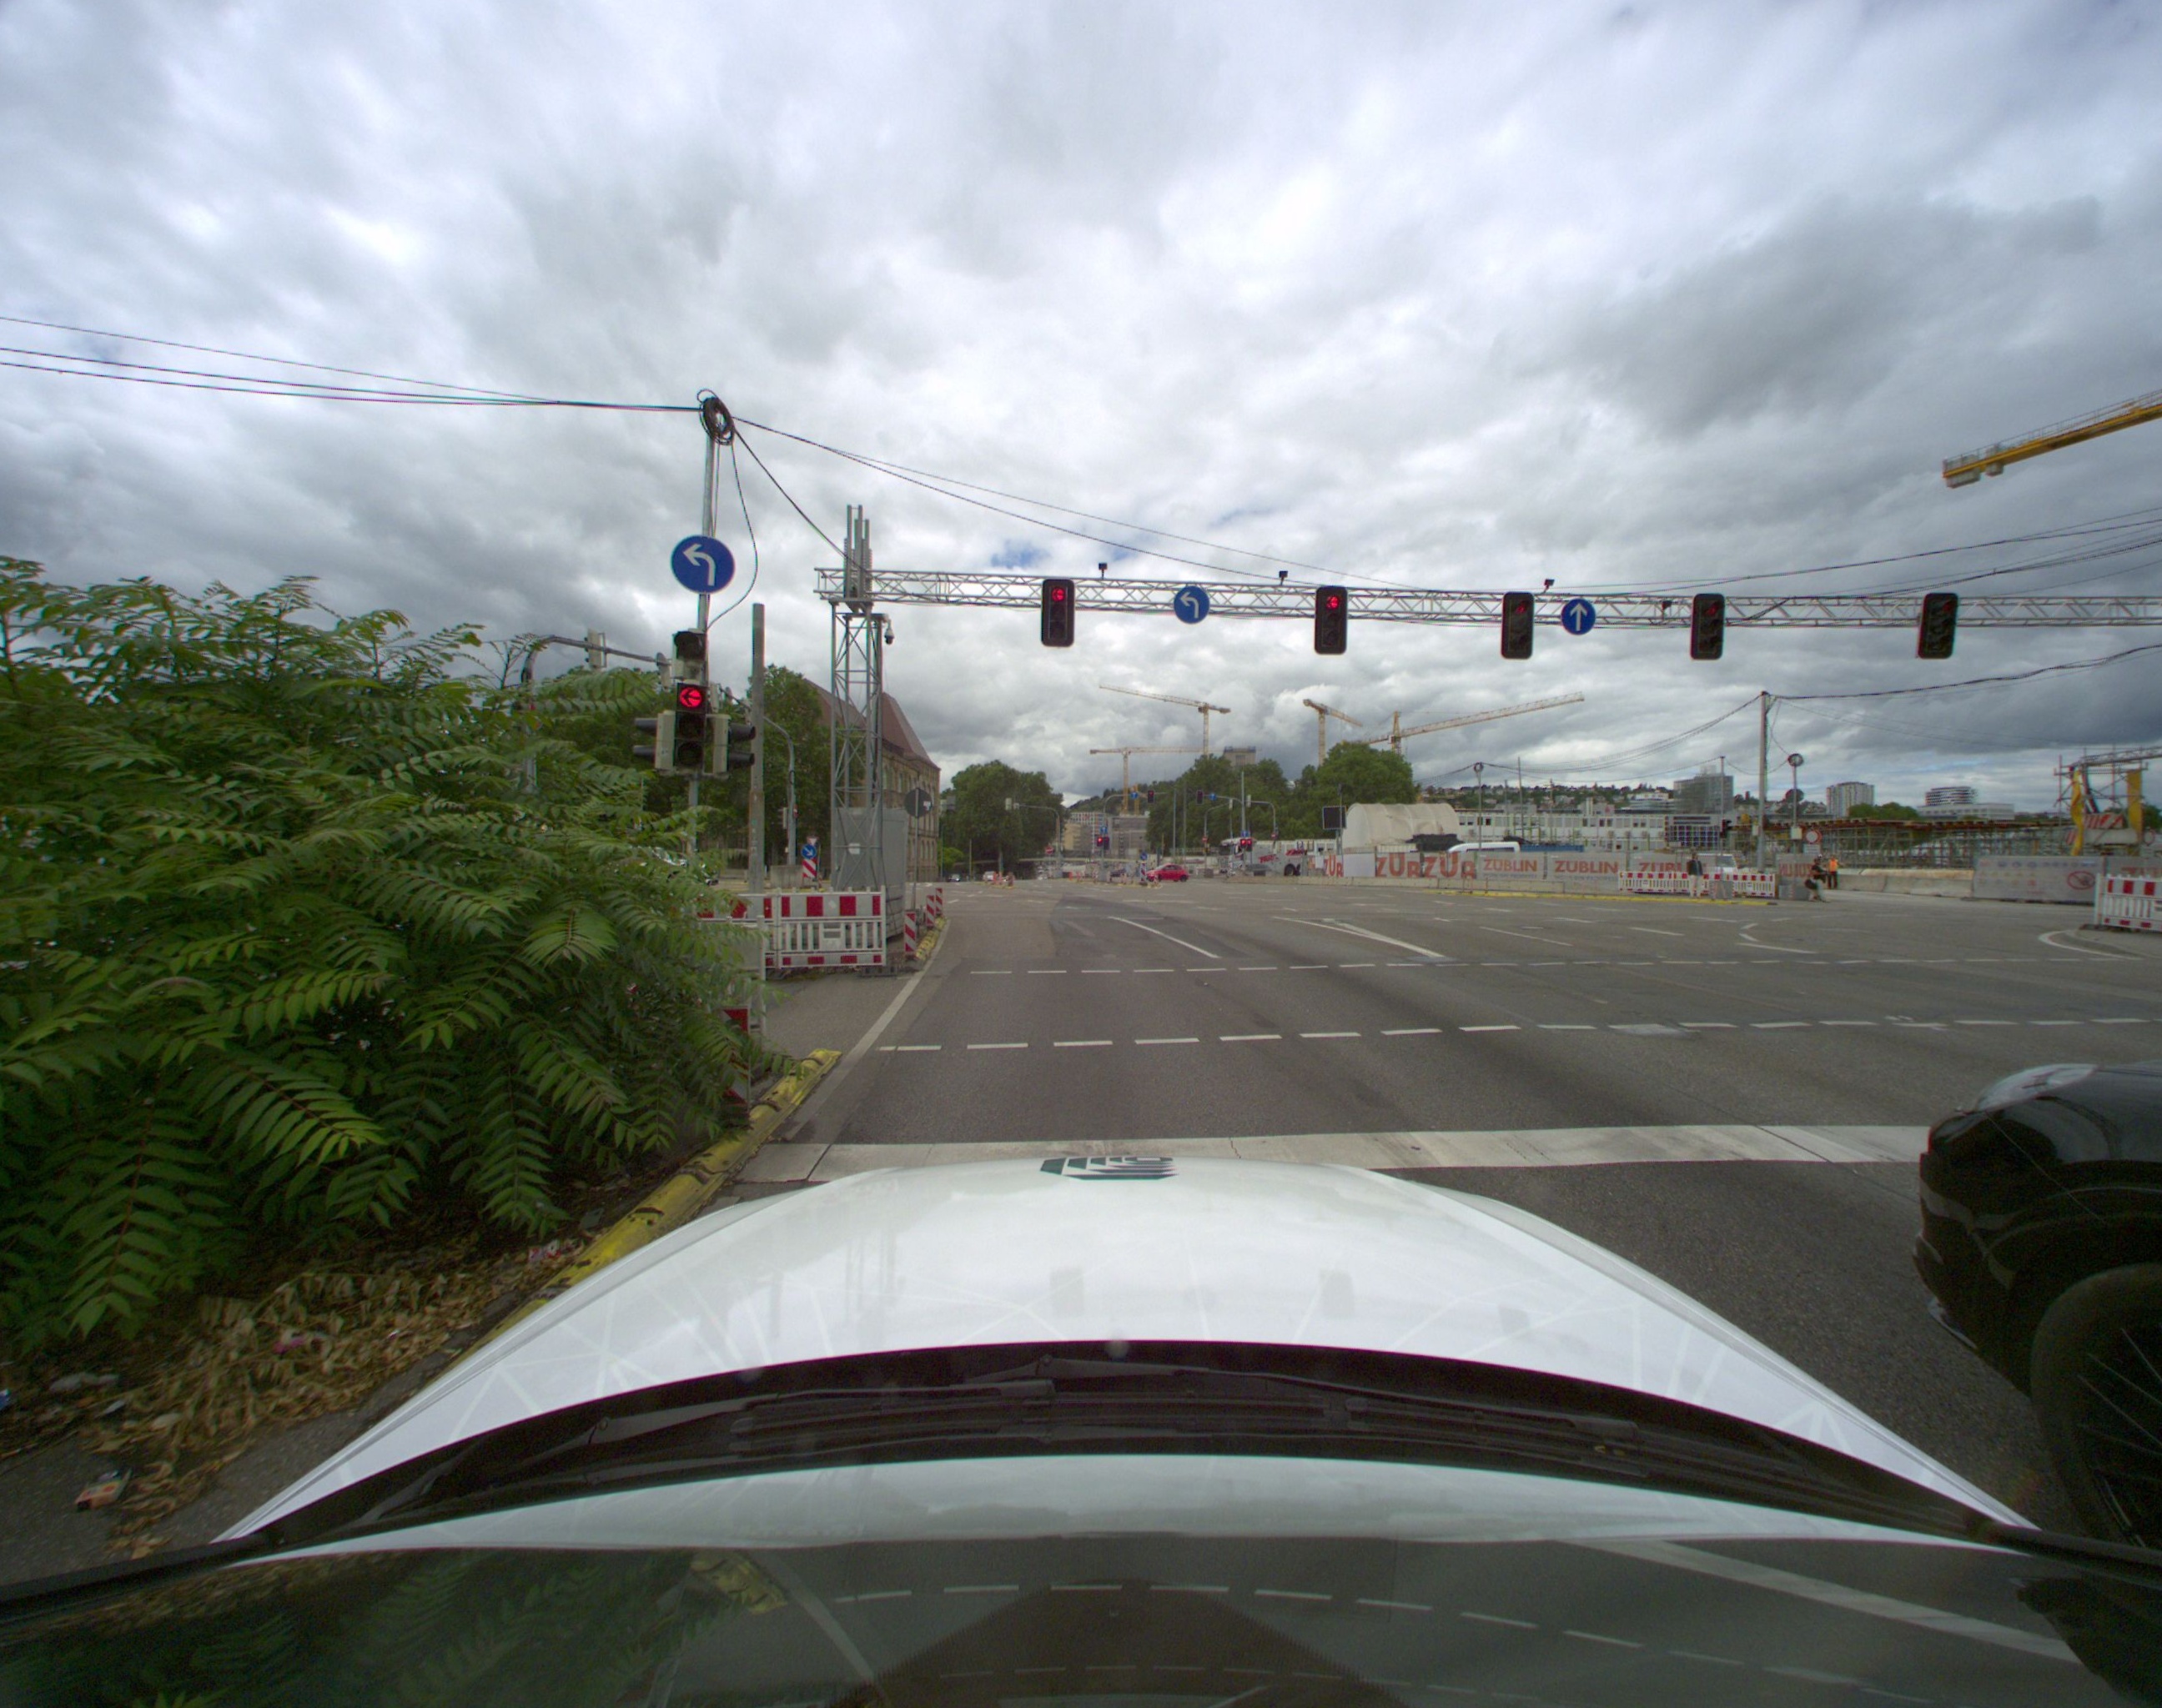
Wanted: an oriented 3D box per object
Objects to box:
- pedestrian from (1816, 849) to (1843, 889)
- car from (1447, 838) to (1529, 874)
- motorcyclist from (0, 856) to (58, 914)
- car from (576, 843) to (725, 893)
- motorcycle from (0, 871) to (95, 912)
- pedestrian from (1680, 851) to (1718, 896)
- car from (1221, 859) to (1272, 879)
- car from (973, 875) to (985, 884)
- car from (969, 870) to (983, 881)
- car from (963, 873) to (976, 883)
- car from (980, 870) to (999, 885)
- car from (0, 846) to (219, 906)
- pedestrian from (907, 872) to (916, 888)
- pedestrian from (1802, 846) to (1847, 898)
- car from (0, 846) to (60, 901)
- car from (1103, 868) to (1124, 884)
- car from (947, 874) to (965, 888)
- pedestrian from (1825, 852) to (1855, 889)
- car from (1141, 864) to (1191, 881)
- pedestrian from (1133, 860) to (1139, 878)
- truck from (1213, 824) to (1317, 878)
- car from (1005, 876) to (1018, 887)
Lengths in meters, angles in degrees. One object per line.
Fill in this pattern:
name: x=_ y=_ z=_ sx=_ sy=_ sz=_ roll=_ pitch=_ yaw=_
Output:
pedestrian: x=38.289 y=0.747 z=41.661 sx=0.673 sy=2.014 sz=0.869 roll=-1 pitch=-1 yaw=14
car: x=23.469 y=0.123 z=47.104 sx=3.955 sy=2.014 sz=2.009 roll=-1 pitch=-1 yaw=17
motorcyclist: x=-25.757 y=0.753 z=19.830 sx=0.786 sy=1.380 sz=0.697 roll=0 pitch=-1 yaw=-2
car: x=-15.971 y=0.502 z=30.436 sx=4.484 sy=1.759 sz=1.996 roll=0 pitch=-1 yaw=-6
motorcycle: x=-25.653 y=0.908 z=19.829 sx=2.342 sy=0.941 sz=0.697 roll=0 pitch=-1 yaw=-2
pedestrian: x=25.785 y=0.812 z=34.013 sx=1.035 sy=1.848 sz=0.794 roll=-1 pitch=-1 yaw=17
car: x=15.027 y=1.352 z=74.086 sx=4.176 sy=1.701 sz=1.955 roll=0 pitch=-1 yaw=-18
car: x=-20.894 y=5.188 z=167.199 sx=1.987 sy=1.838 sz=3.998 roll=0 pitch=-1 yaw=-1
car: x=-18.961 y=3.856 z=146.923 sx=1.987 sy=1.838 sz=3.998 roll=0 pitch=-1 yaw=-1
car: x=-21.379 y=4.587 z=156.355 sx=1.987 sy=1.838 sz=3.998 roll=0 pitch=-1 yaw=-1
car: x=-11.741 y=2.984 z=104.205 sx=1.987 sy=1.838 sz=3.998 roll=0 pitch=-1 yaw=-1
car: x=-26.886 y=0.581 z=22.411 sx=4.095 sy=1.547 sz=1.999 roll=0 pitch=-1 yaw=-2
pedestrian: x=-21.706 y=3.334 z=104.369 sx=0.946 sy=2.014 sz=0.767 roll=0 pitch=-1 yaw=3
pedestrian: x=29.184 y=0.693 z=31.997 sx=1.033 sy=2.014 sz=1.040 roll=-1 pitch=-1 yaw=27
car: x=-32.531 y=0.573 z=23.243 sx=4.095 sy=1.547 sz=1.999 roll=0 pitch=-1 yaw=-2
car: x=4.255 y=2.868 z=106.712 sx=1.993 sy=2.014 sz=3.987 roll=0 pitch=-1 yaw=-10
car: x=-17.195 y=3.662 z=112.217 sx=1.987 sy=1.838 sz=3.998 roll=0 pitch=-1 yaw=-1
pedestrian: x=39.059 y=0.841 z=41.920 sx=0.677 sy=1.916 sz=0.865 roll=0 pitch=-1 yaw=-4
car: x=7.090 y=1.537 z=68.013 sx=3.820 sy=1.386 sz=1.792 roll=0 pitch=-1 yaw=-20
pedestrian: x=5.579 y=1.509 z=82.234 sx=0.583 sy=1.840 sz=0.604 roll=0 pitch=-1 yaw=-2
truck: x=17.783 y=-0.278 z=78.658 sx=9.751 sy=4.961 sz=3.091 roll=0 pitch=-1 yaw=-21
car: x=-11.487 y=4.549 z=134.828 sx=1.987 sy=1.838 sz=3.998 roll=0 pitch=-1 yaw=-1
